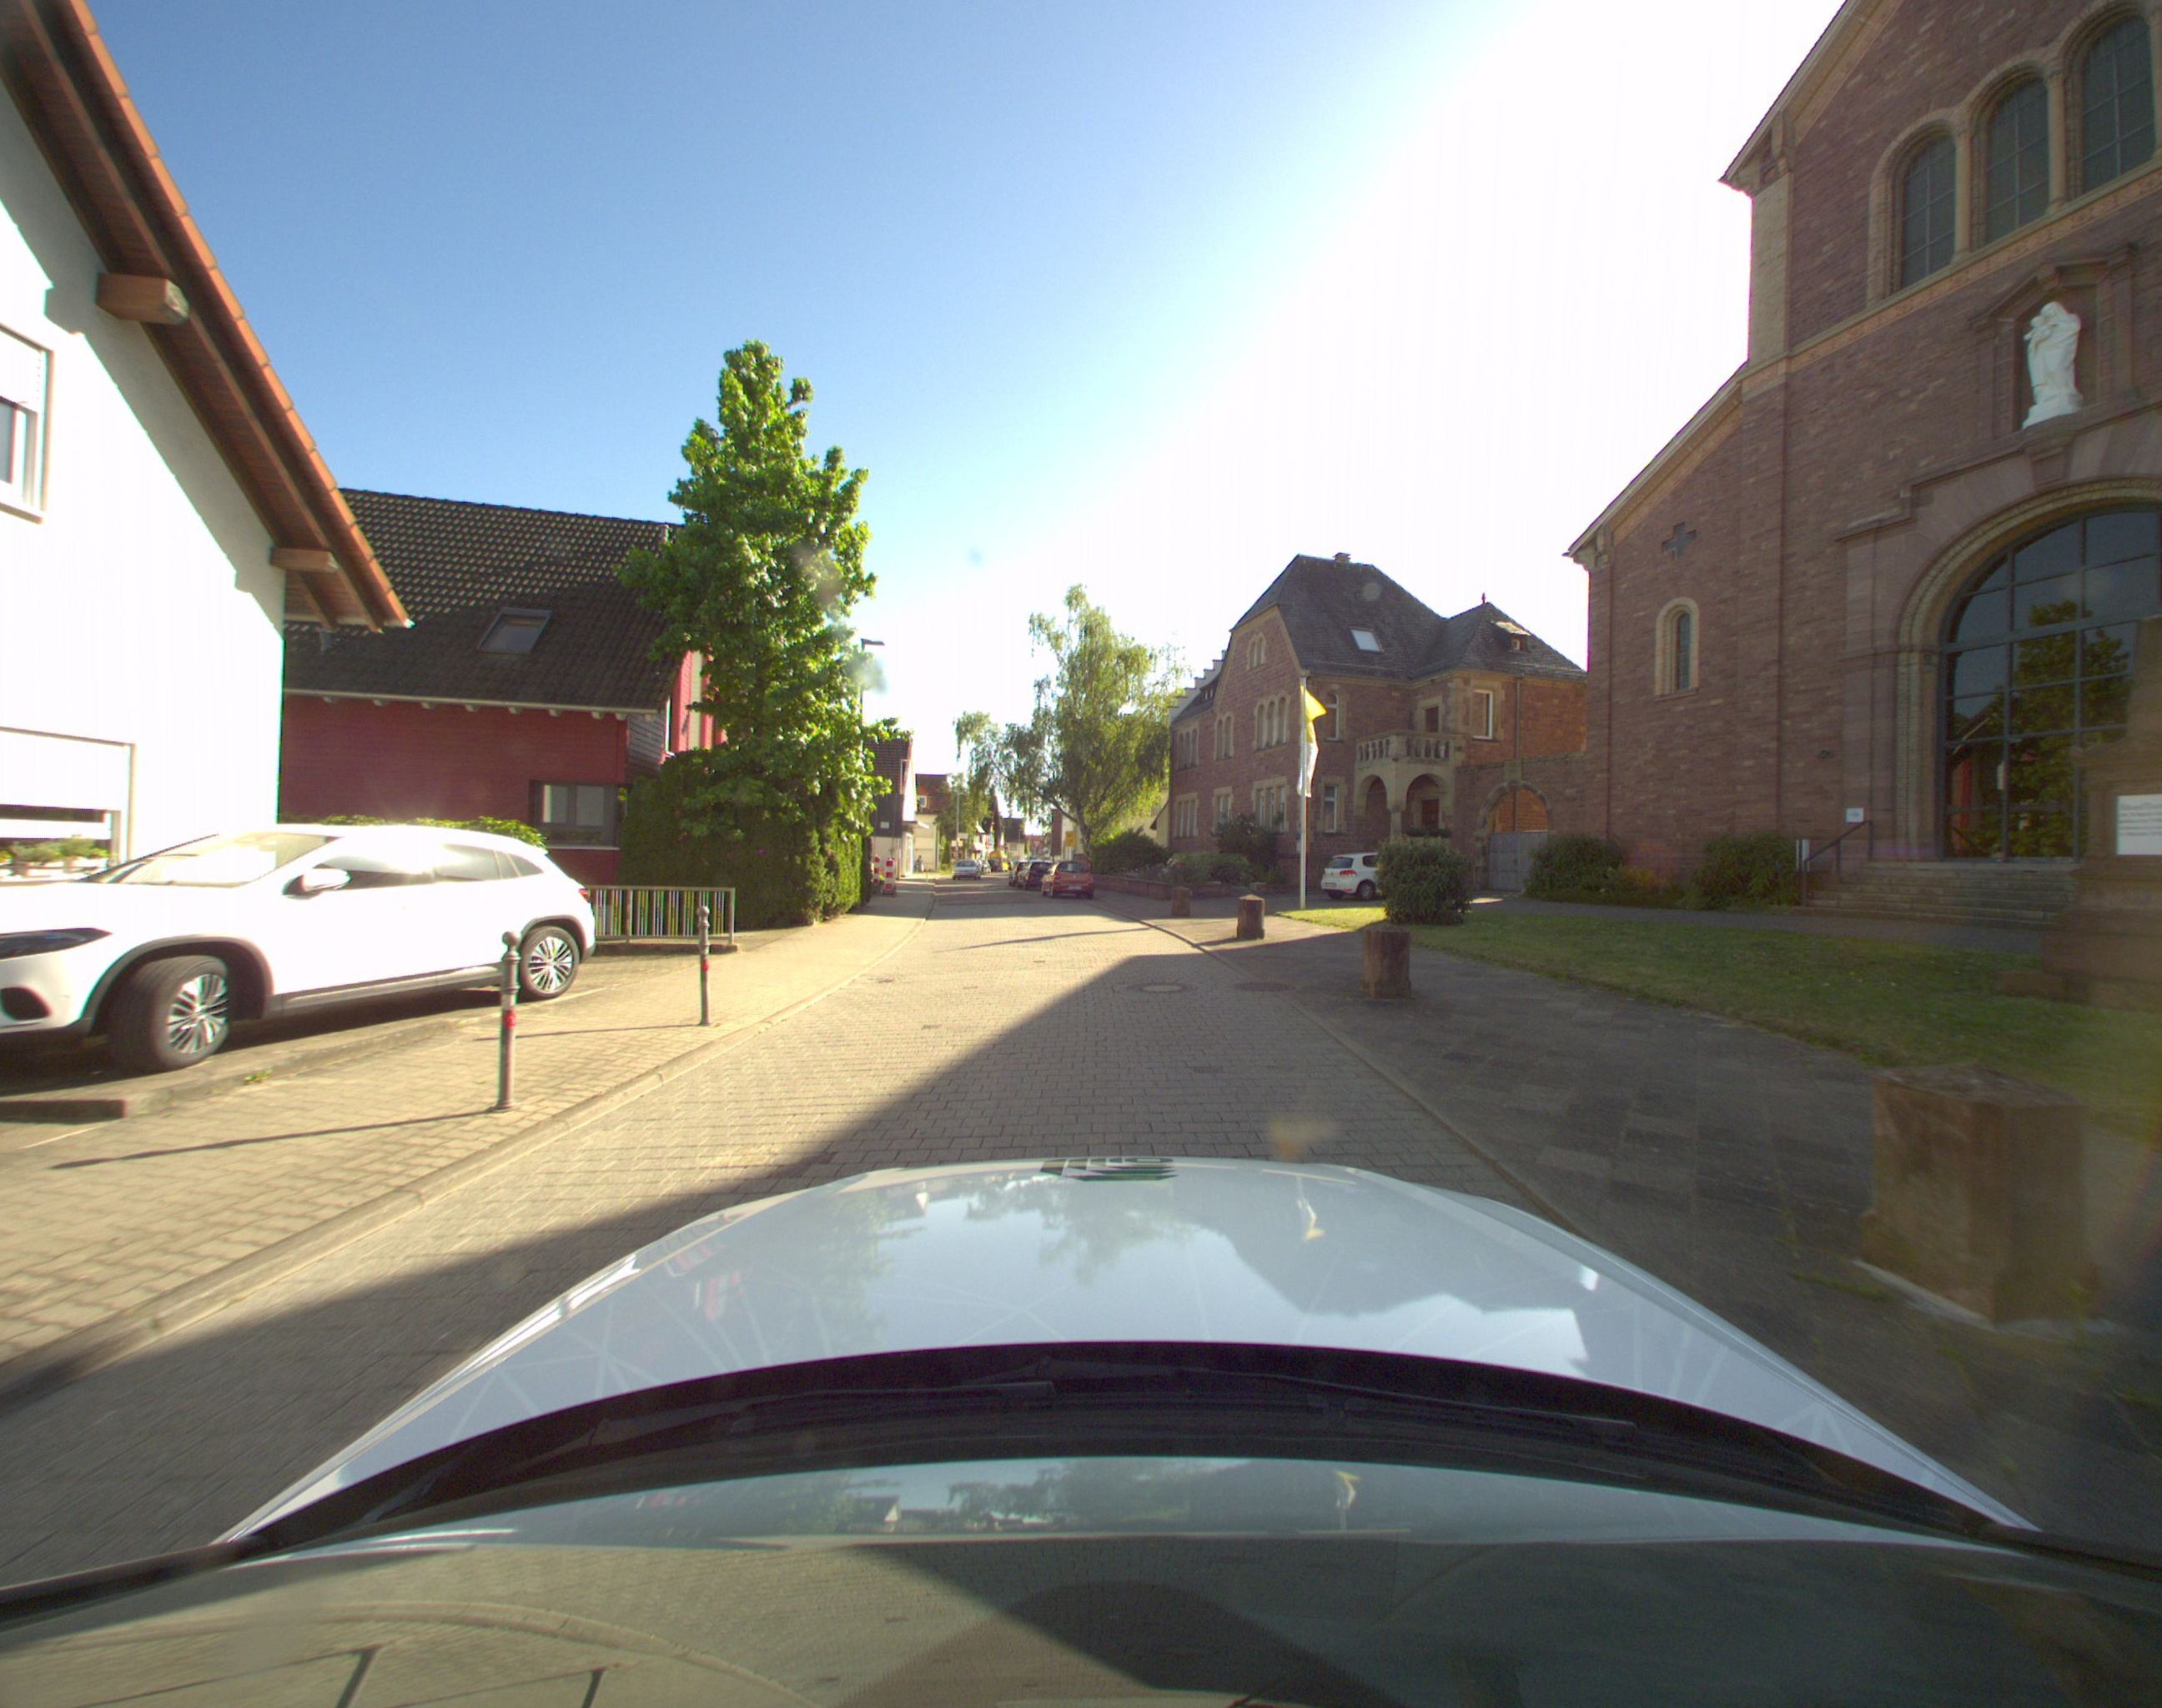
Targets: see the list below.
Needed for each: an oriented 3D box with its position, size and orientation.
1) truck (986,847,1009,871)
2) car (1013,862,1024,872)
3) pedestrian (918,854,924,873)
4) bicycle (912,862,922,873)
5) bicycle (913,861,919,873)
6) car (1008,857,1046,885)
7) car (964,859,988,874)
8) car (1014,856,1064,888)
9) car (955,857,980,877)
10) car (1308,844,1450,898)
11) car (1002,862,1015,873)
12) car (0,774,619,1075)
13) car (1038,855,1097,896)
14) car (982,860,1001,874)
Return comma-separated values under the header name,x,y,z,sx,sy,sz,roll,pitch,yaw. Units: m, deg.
name,x,y,z,sx,sy,sz,roll,pitch,yaw
truck,-10.860,0.706,106.271,2.260,2.869,5.783,1,-2,1
car,-9.872,2.048,128.539,1.584,1.443,3.611,2,-1,-2
pedestrian,-14.729,0.888,74.935,0.482,1.693,0.556,2,-3,-4
bicycle,-15.730,1.295,78.059,0.576,1.052,2.035,1,-2,-1
bicycle,-15.131,1.222,74.706,0.423,1.052,1.377,1,-2,-7
car,-3.027,0.905,45.072,1.806,1.436,4.274,2,0,-7
car,-11.228,1.356,87.335,1.861,1.506,4.108,1,-2,1
car,-2.137,0.860,40.442,1.808,1.436,4.269,2,0,-11
car,-8.143,0.922,58.301,1.670,1.402,3.879,0,-1,-9
car,9.568,0.533,26.185,3.907,1.496,1.893,-2,-1,-17
car,-10.211,1.945,115.262,1.641,1.433,3.611,2,-1,-2
car,-6.216,0.373,6.575,1.806,1.596,4.458,2,0,10
car,-0.599,0.795,32.156,1.649,1.479,3.918,2,0,-11
car,-10.987,1.592,100.659,1.800,1.622,3.881,1,-2,1
